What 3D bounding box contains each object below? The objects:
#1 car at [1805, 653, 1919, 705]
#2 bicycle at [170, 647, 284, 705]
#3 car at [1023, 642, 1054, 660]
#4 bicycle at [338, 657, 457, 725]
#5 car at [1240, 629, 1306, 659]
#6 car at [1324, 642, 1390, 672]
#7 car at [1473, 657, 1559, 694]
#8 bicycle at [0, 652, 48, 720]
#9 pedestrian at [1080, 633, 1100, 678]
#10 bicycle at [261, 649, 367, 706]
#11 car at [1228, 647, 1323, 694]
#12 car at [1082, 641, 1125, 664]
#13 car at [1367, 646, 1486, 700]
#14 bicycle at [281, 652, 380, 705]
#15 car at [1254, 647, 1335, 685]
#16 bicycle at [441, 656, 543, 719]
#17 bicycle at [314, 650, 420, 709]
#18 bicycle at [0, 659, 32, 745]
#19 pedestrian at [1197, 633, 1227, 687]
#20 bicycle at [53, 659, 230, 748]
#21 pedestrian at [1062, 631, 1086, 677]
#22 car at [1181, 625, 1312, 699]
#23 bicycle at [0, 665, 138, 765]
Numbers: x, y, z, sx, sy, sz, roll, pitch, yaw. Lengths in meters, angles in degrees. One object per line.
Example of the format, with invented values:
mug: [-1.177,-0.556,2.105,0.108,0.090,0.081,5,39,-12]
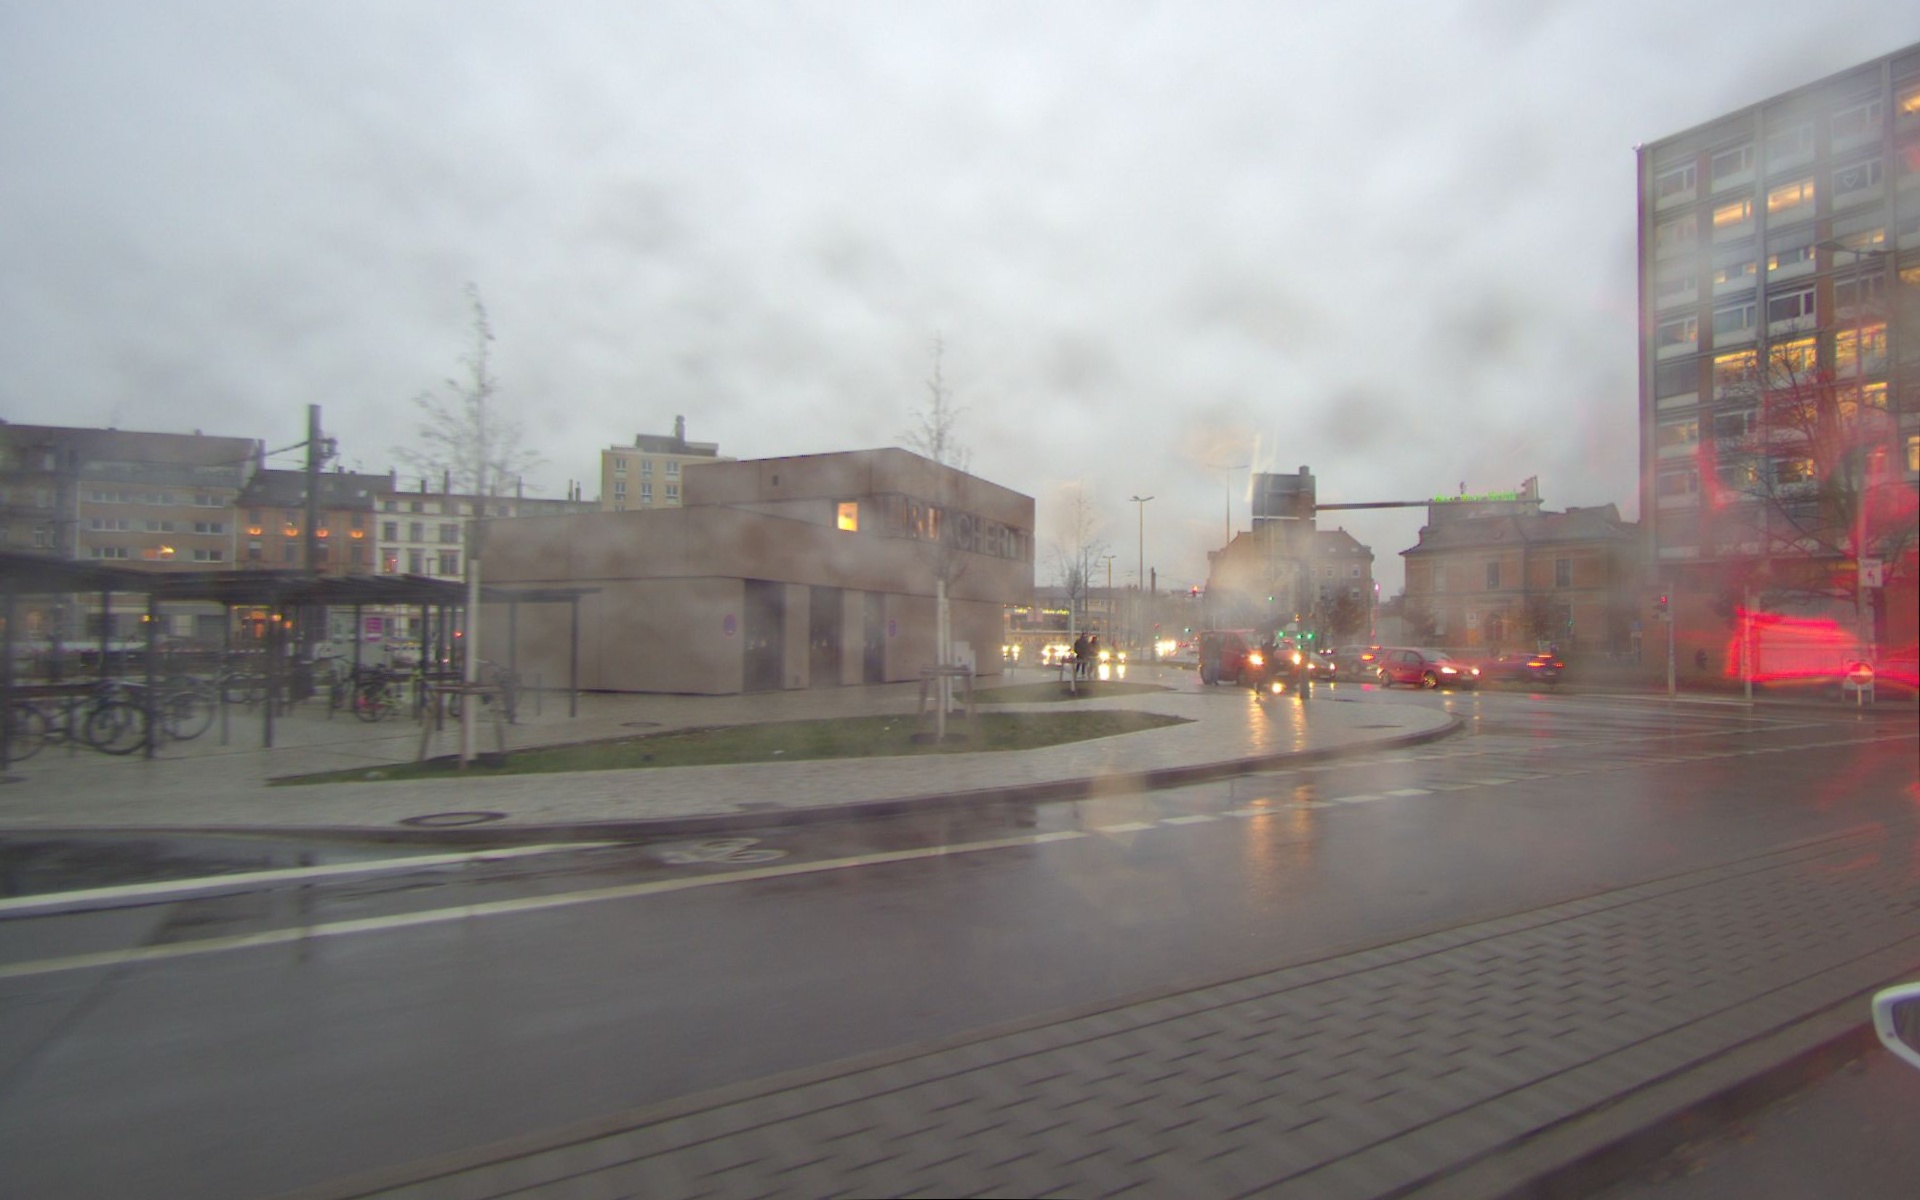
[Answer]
car: [29.171,2.493,31.546,1.540,1.416,3.788,3,-1,-17]
bicycle: [-15.912,1.627,21.858,0.540,1.180,1.895,2,-2,30]
car: [7.246,4.682,92.653,1.578,1.468,3.637,3,-1,-16]
bicycle: [-10.547,1.673,18.890,0.540,1.180,1.895,2,-2,30]
car: [21.726,3.013,69.904,1.966,1.938,5.157,1,-1,-14]
car: [22.464,3.196,56.978,1.445,1.505,3.918,3,-1,-14]
car: [25.383,3.430,45.976,1.445,1.416,3.412,4,-2,-14]
bicycle: [-17.428,1.516,17.703,0.540,1.180,1.895,2,-2,30]
pedestrian: [5.361,2.284,41.440,0.576,1.795,0.610,3,-1,-16]
bicycle: [-14.262,1.698,22.230,0.540,1.180,1.895,2,-2,30]
car: [13.149,2.919,42.079,1.732,1.706,4.063,3,-1,-18]
car: [10.337,3.762,72.533,1.579,1.466,3.635,3,-1,-17]
car: [17.338,2.684,37.560,1.731,1.706,4.069,3,-1,-16]
bicycle: [-14.823,1.835,23.705,0.540,1.180,1.895,2,-2,30]
car: [15.296,3.001,46.152,1.578,1.468,3.827,3,-1,-16]
bicycle: [-9.400,1.736,20.264,0.540,1.180,1.897,2,-2,27]
bicycle: [-12.690,1.673,21.567,0.540,1.180,1.895,2,-2,30]
bicycle: [-14.195,1.430,13.879,0.540,1.180,1.895,2,-2,30]
pedestrian: [8.295,1.967,33.127,0.781,1.719,0.461,3,-1,-7]
bicycle: [-11.968,1.472,14.759,0.540,1.180,1.895,2,-2,30]
pedestrian: [4.705,2.219,41.428,0.670,1.839,0.692,3,-1,-16]
car: [9.975,2.096,35.427,2.220,2.311,5.025,3,-1,-13]
bicycle: [-11.809,1.453,12.838,0.540,1.180,1.895,2,-2,30]
